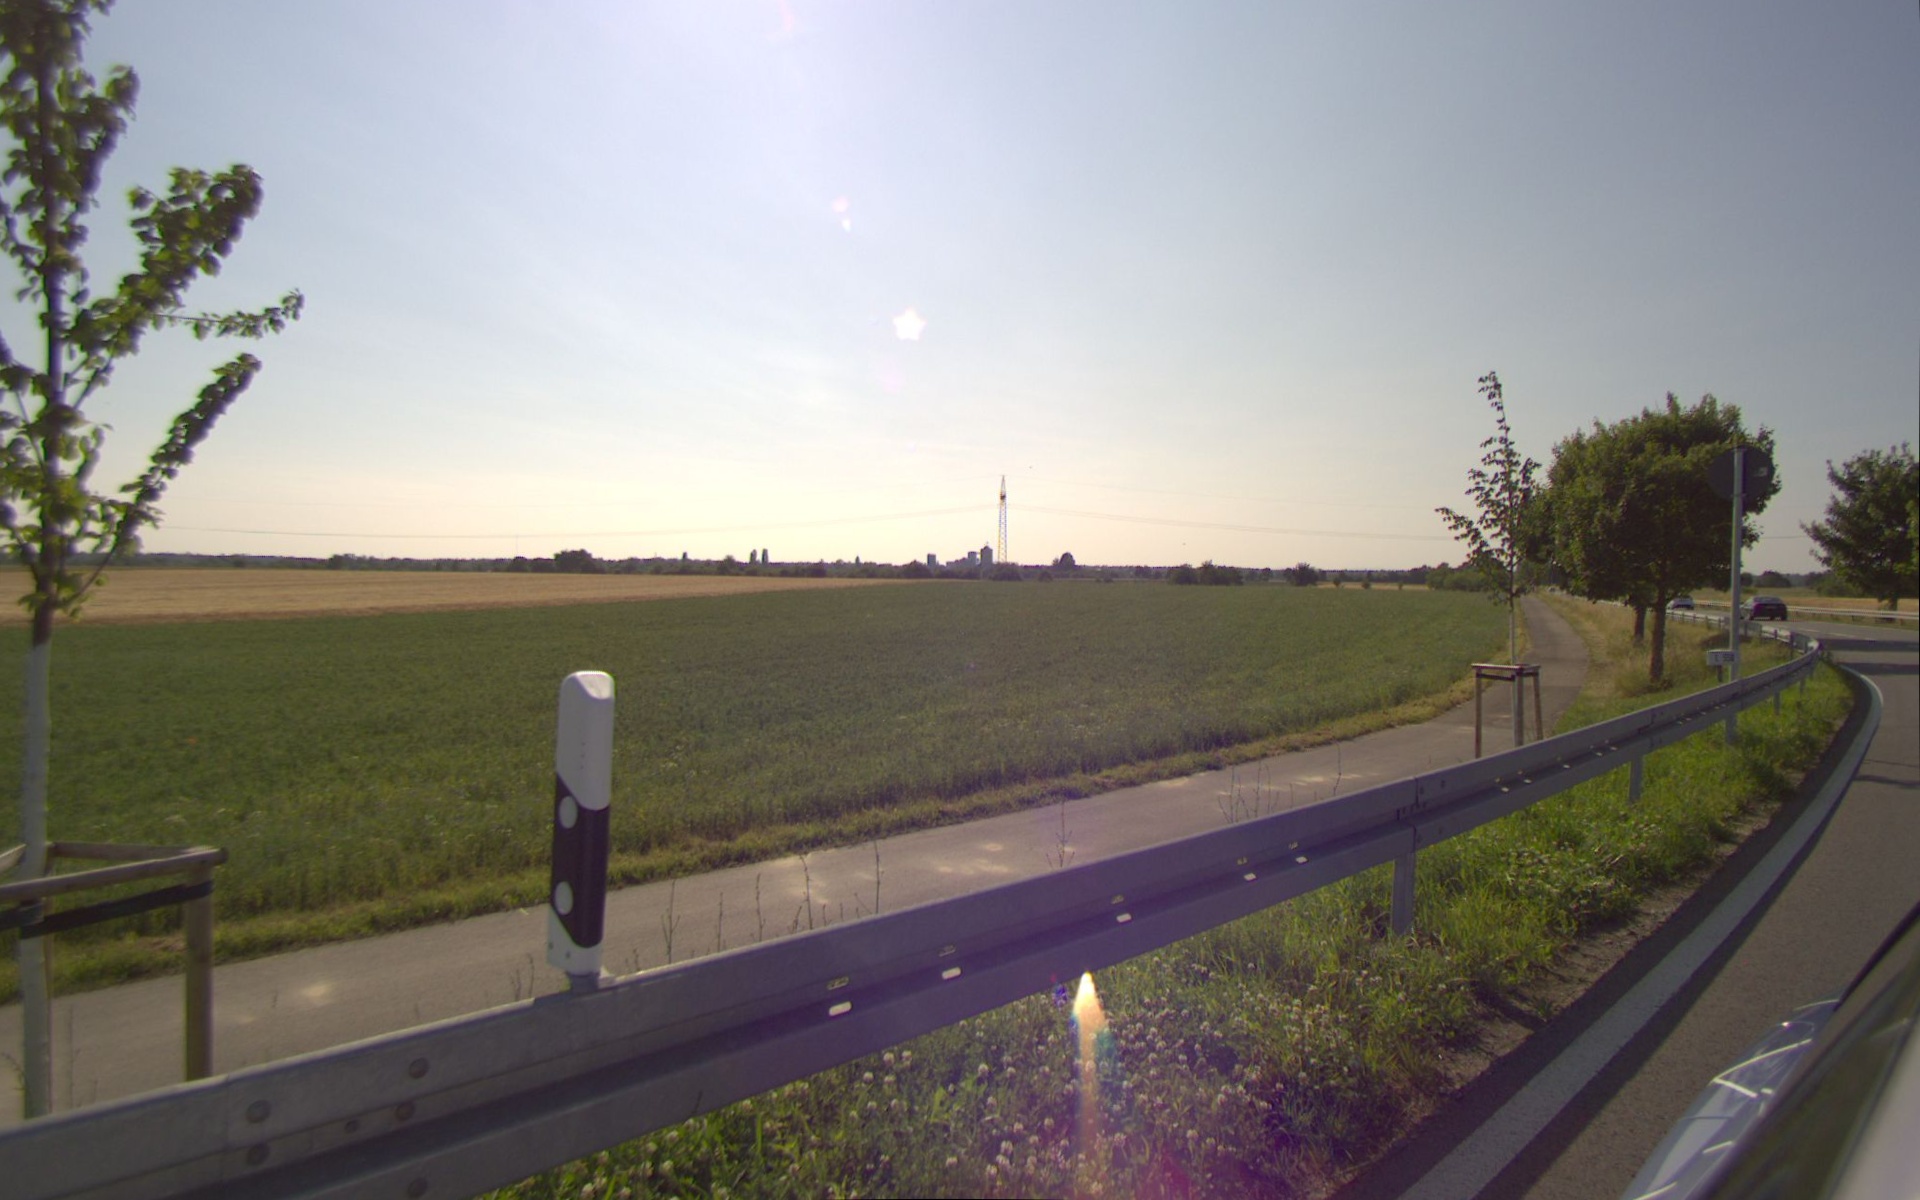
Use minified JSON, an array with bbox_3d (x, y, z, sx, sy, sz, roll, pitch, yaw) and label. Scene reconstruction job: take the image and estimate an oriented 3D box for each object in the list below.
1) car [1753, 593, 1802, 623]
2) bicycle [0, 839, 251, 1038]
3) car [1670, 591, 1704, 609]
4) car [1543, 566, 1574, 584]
[{"bbox_3d":[48.475,0.433,60.041,1.830,1.563,4.195,-1,1,34],"label":"car"},{"bbox_3d":[-6.625,2.574,7.775,1.894,1.047,0.759,0,0,-38],"label":"bicycle"},{"bbox_3d":[64.437,-0.011,89.732,1.739,1.447,3.813,-1,1,26],"label":"car"},{"bbox_3d":[69.899,-2.934,118.292,2.792,2.039,6.042,-1,0,29],"label":"car"}]
